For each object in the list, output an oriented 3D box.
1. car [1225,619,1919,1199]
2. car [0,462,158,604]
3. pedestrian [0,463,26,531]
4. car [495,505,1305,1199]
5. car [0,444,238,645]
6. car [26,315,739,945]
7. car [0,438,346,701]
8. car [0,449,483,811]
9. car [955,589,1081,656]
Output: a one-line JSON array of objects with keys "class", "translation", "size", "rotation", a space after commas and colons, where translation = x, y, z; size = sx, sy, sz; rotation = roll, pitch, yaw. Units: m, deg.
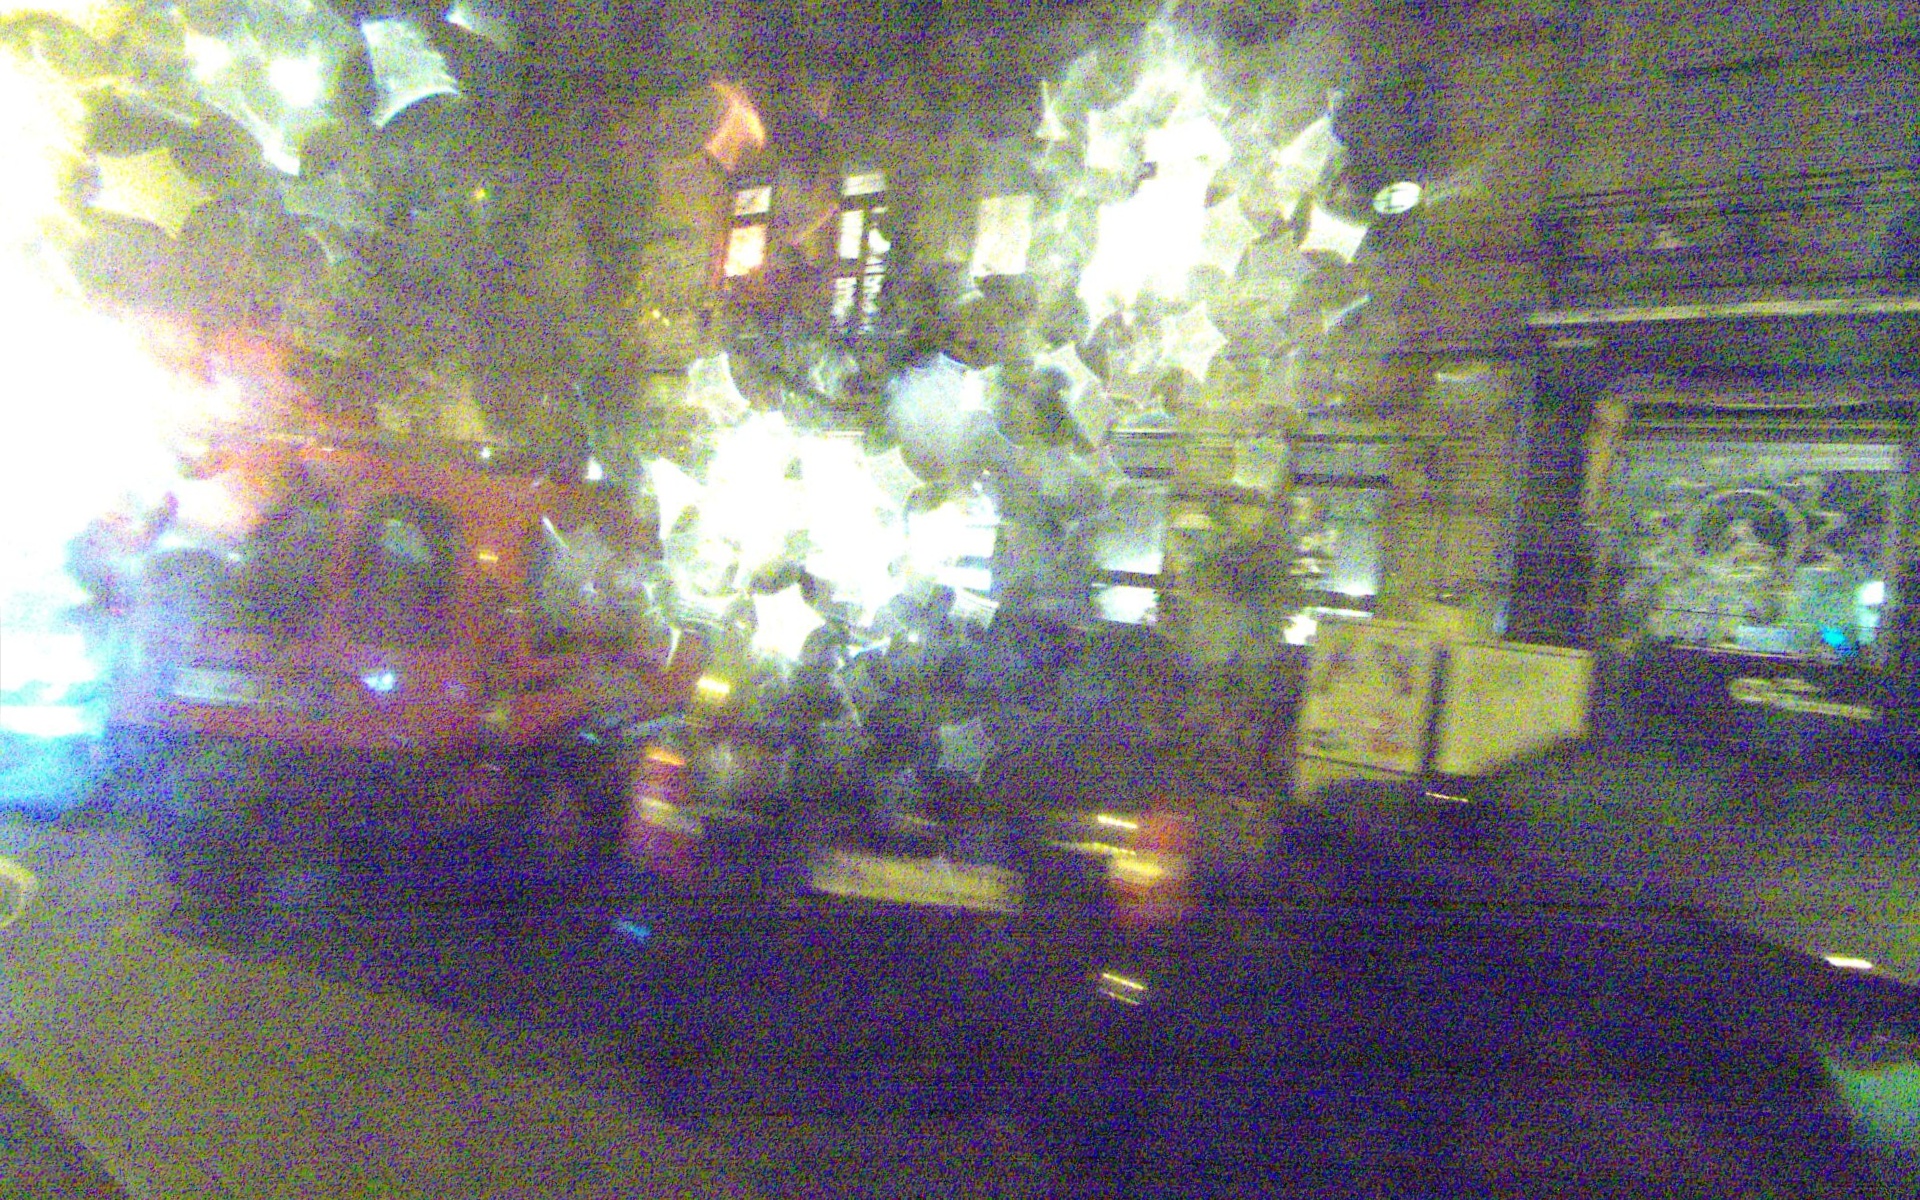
[{"class": "car", "translation": [2.186, 0.934, 2.462], "size": [1.648, 1.471, 4.054], "rotation": [7, 0, -3]}, {"class": "car", "translation": [-11.688, -0.847, 11.272], "size": [1.738, 1.594, 4.260], "rotation": [6, 2, 3]}, {"class": "pedestrian", "translation": [-27.037, -2.919, 28.174], "size": [0.867, 1.856, 0.978], "rotation": [6, 1, -22]}, {"class": "car", "translation": [-0.140, 0.573, 4.045], "size": [1.628, 1.472, 3.702], "rotation": [6, 2, 0]}, {"class": "car", "translation": [-9.191, -0.597, 9.725], "size": [1.739, 1.735, 3.735], "rotation": [6, 2, -3]}, {"class": "car", "translation": [-2.451, 0.080, 5.418], "size": [1.690, 2.055, 3.735], "rotation": [6, 2, -3]}, {"class": "car", "translation": [-7.204, -0.339, 8.505], "size": [1.717, 1.735, 3.788], "rotation": [6, 2, -3]}, {"class": "car", "translation": [-4.979, 0.007, 6.587], "size": [1.800, 1.619, 4.067], "rotation": [6, 2, -3]}, {"class": "car", "translation": [1.970, 0.767, 35.684], "size": [1.982, 1.784, 4.420], "rotation": [8, 0, -35]}]
